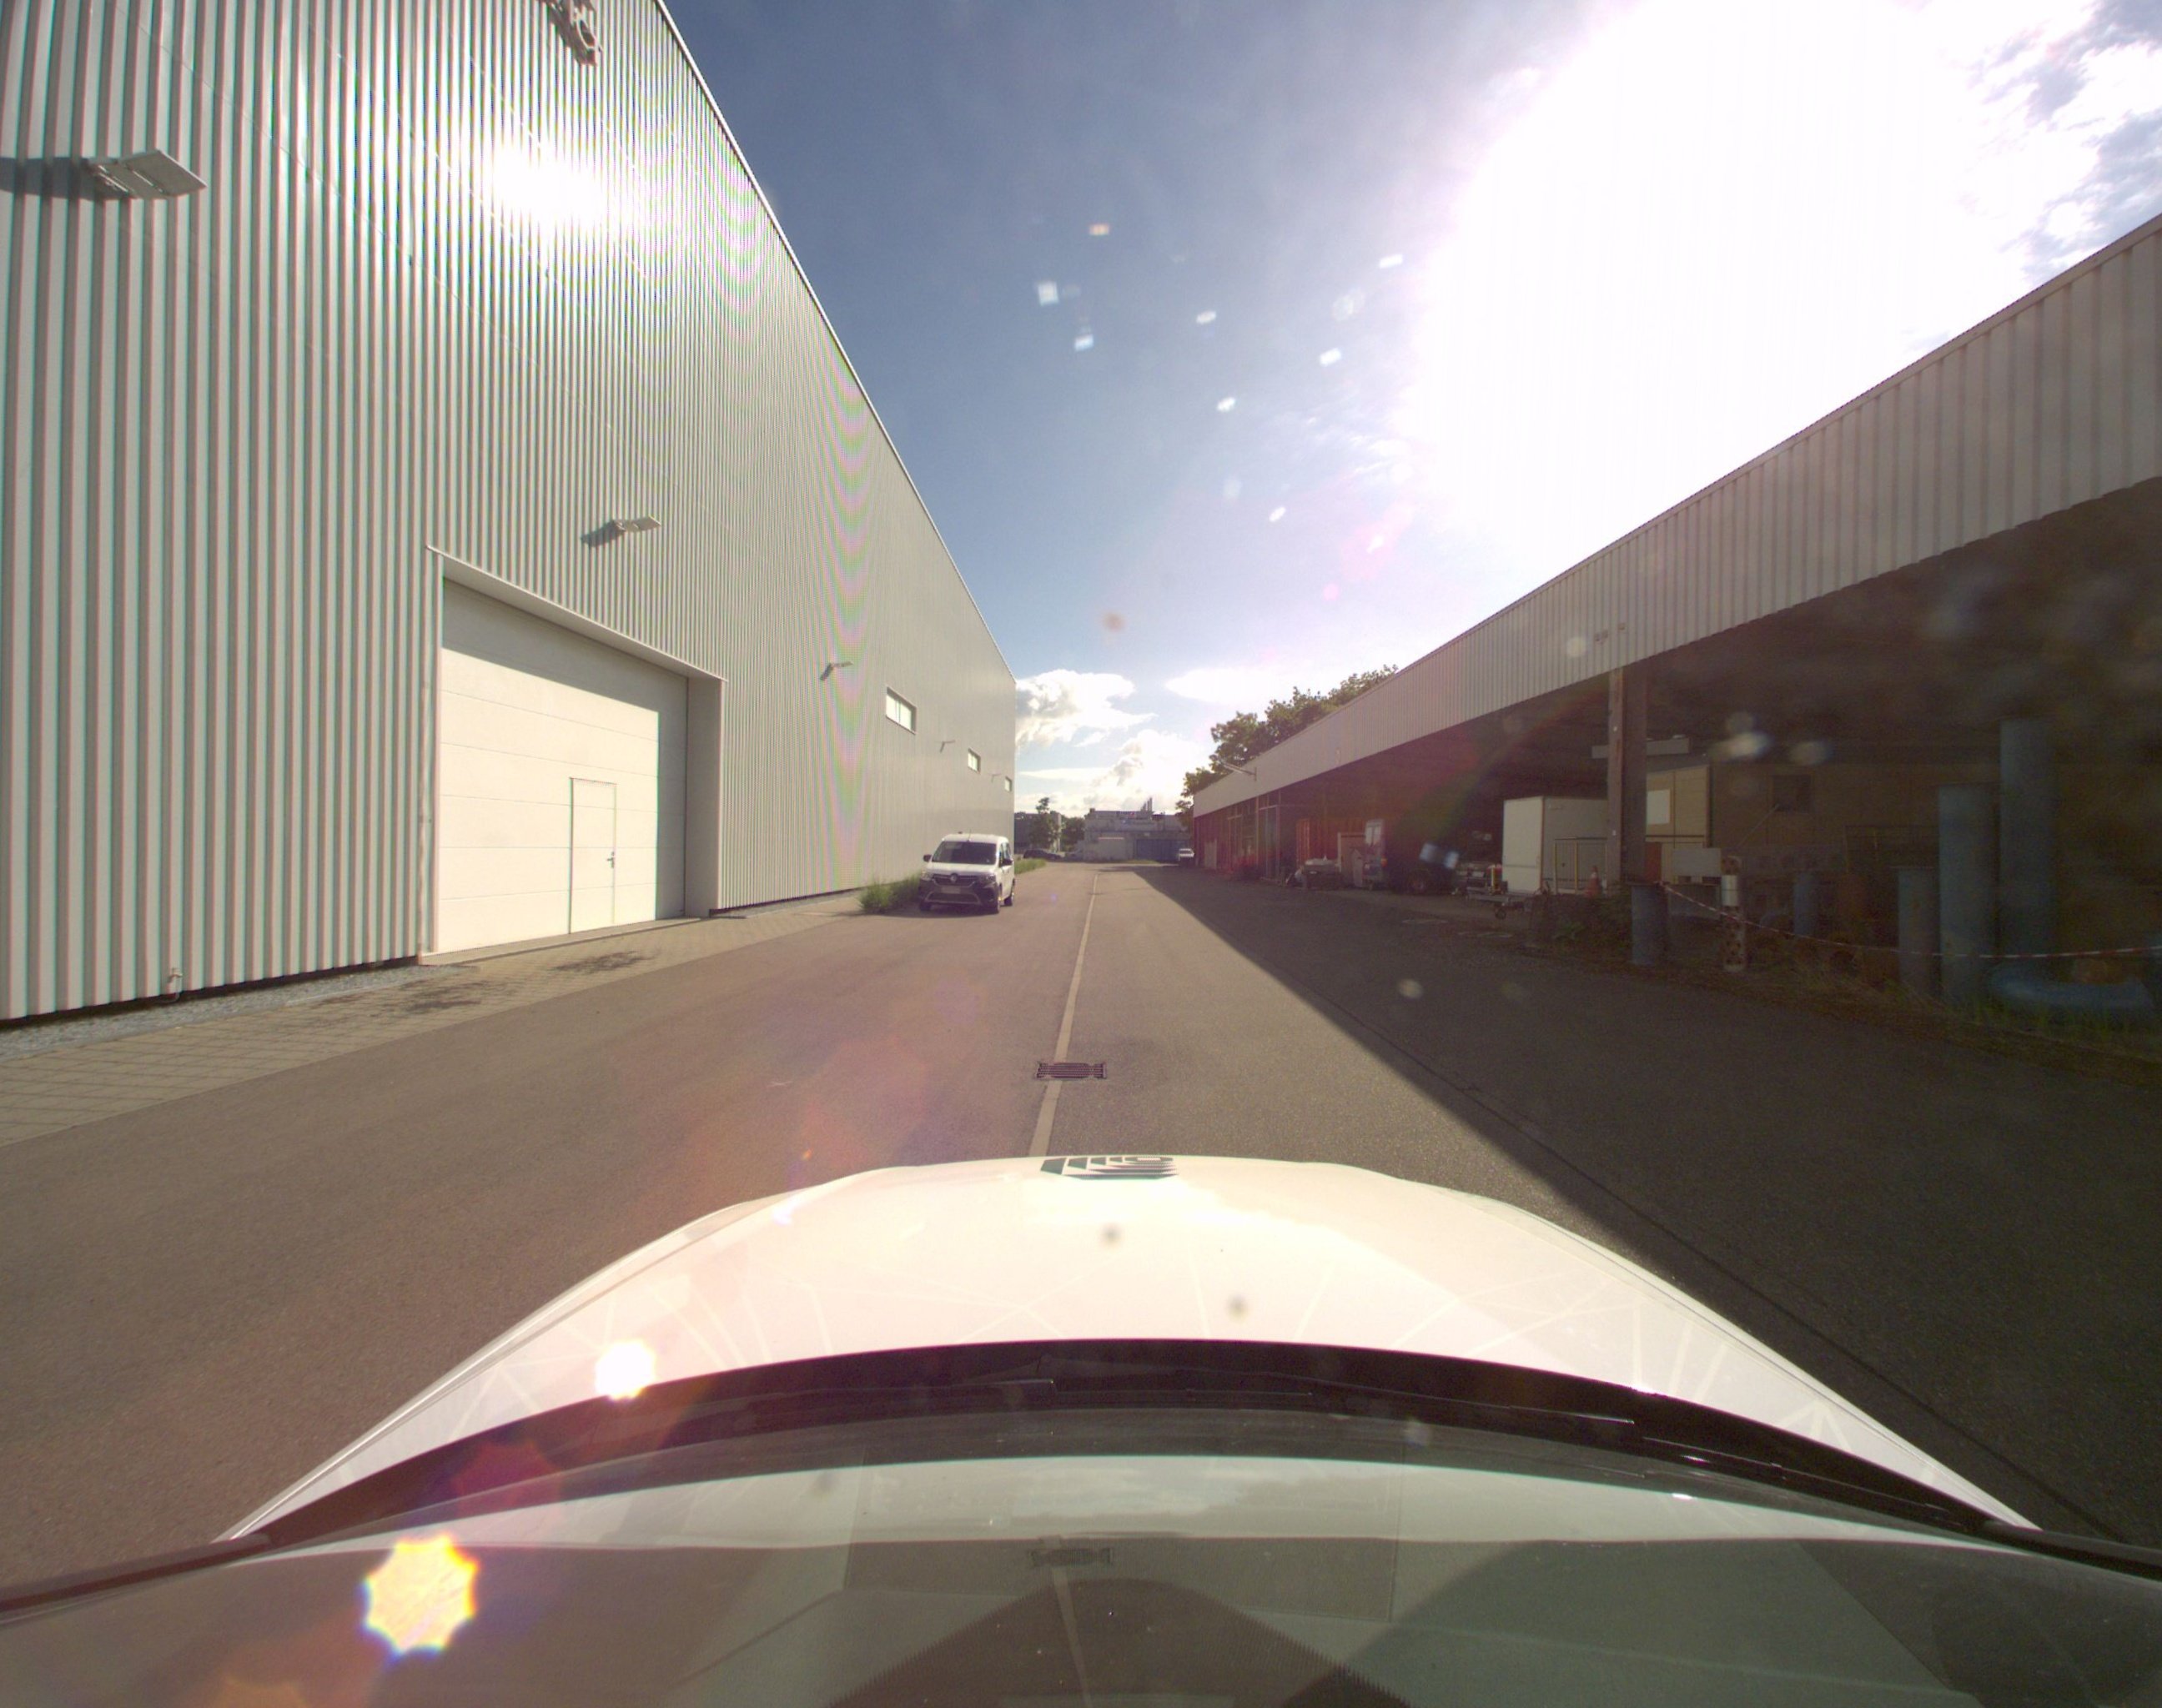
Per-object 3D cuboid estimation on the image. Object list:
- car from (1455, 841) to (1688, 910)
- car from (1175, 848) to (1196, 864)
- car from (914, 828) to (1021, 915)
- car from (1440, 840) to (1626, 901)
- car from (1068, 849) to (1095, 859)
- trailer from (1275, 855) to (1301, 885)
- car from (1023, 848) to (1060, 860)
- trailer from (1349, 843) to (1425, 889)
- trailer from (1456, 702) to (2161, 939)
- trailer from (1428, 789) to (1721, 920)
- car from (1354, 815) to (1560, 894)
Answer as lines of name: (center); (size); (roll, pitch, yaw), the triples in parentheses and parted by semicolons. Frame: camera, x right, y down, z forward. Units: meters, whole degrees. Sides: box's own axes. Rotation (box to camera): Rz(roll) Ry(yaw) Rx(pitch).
car: (11.052, 0.451, 18.554); (4.237, 1.471, 1.869); (0, 0, -2)
car: (11.408, 0.157, 89.108); (1.971, 1.602, 4.381); (-1, 1, 3)
car: (-2.608, 0.379, 19.791); (1.777, 1.816, 4.603); (2, 0, 1)
car: (11.901, 0.419, 21.628); (3.953, 1.514, 1.839); (0, 0, -2)
car: (0.067, 0.001, 129.642); (4.288, 1.457, 1.824); (-1, 0, 0)
trailer: (7.761, 0.585, 30.569); (0.550, 1.118, 1.546); (-1, 0, 0)
car: (-4.880, 0.006, 101.809); (4.432, 1.531, 1.824); (-1, 0, 0)
trailer: (10.257, 0.398, 27.422); (2.028, 1.466, 1.741); (-1, 0, 5)
trailer: (11.999, -0.507, 13.484); (10.230, 3.343, 2.802); (-1, 0, 1)
trailer: (9.508, 0.017, 16.020); (4.498, 2.342, 2.048); (-1, 0, 2)
car: (11.305, 0.010, 24.792); (5.314, 2.281, 2.153); (0, 0, 0)
